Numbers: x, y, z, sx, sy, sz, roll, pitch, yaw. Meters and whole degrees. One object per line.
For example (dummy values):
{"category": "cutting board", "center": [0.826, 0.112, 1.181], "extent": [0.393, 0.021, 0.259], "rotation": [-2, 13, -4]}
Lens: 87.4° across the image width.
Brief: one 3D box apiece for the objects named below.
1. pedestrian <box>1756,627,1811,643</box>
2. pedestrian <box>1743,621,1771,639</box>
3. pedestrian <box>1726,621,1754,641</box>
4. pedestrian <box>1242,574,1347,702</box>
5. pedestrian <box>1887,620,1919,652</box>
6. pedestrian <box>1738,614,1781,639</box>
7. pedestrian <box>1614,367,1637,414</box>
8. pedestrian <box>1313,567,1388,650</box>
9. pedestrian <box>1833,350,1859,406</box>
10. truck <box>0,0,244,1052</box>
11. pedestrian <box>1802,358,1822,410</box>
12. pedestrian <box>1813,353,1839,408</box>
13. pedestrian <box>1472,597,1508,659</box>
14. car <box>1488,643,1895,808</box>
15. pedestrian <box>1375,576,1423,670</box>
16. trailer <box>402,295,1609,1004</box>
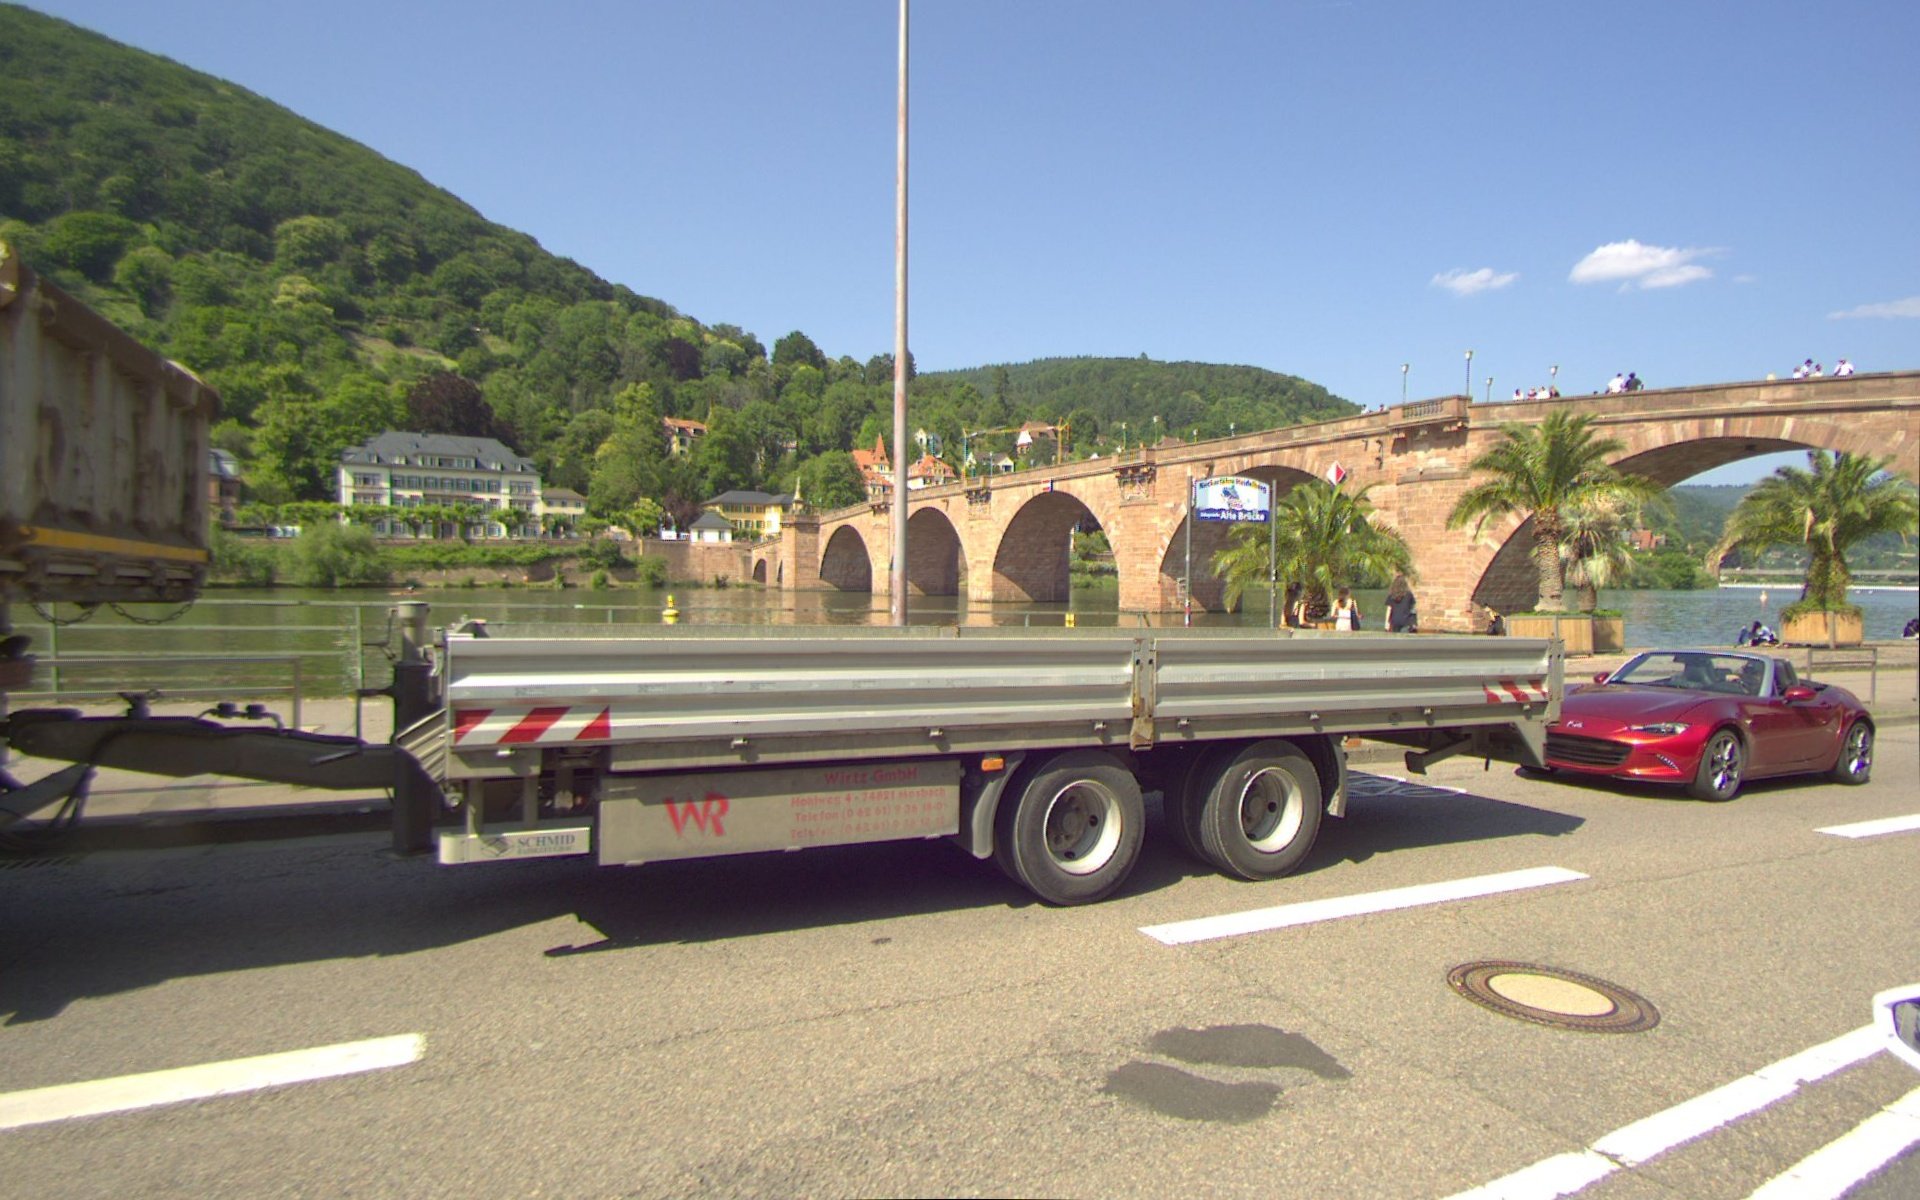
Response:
{"category": "pedestrian", "center": [24.487, 1.035, 29.878], "extent": [1.719, 0.427, 0.642], "rotation": [0, 0, -27]}
{"category": "pedestrian", "center": [24.814, 0.937, 31.289], "extent": [0.506, 0.571, 0.463], "rotation": [1, -3, -18]}
{"category": "pedestrian", "center": [23.778, 0.947, 30.614], "extent": [0.506, 0.571, 0.463], "rotation": [1, -3, -18]}
{"category": "pedestrian", "center": [4.734, 0.513, 14.236], "extent": [1.136, 1.724, 0.813], "rotation": [1, 1, -27]}
{"category": "pedestrian", "center": [38.621, 1.451, 41.010], "extent": [1.129, 1.257, 0.724], "rotation": [1, 1, -24]}
{"category": "pedestrian", "center": [25.045, 0.831, 31.480], "extent": [0.699, 0.753, 0.786], "rotation": [0, 2, -17]}
{"category": "pedestrian", "center": [31.565, -9.928, 47.659], "extent": [0.618, 2.041, 0.689], "rotation": [0, 1, -31]}
{"category": "pedestrian", "center": [7.505, 0.179, 19.334], "extent": [1.101, 1.554, 0.791], "rotation": [1, -3, -27]}
{"category": "pedestrian", "center": [35.933, -8.989, 40.721], "extent": [0.688, 2.041, 0.619], "rotation": [0, 1, -35]}
{"category": "truck", "center": [-6.991, -0.395, 2.733], "extent": [7.763, 3.502, 2.635], "rotation": [1, -1, -25]}
{"category": "pedestrian", "center": [35.649, -9.017, 42.029], "extent": [0.548, 2.041, 0.455], "rotation": [0, 1, -35]}
{"category": "pedestrian", "center": [35.516, -8.997, 41.179], "extent": [0.688, 2.041, 0.619], "rotation": [0, 1, -35]}
{"category": "pedestrian", "center": [14.256, 0.736, 27.008], "extent": [0.591, 1.623, 0.671], "rotation": [-1, 2, -44]}
{"category": "car", "center": [6.858, 1.041, 9.393], "extent": [3.582, 1.210, 1.665], "rotation": [1, -1, -27]}
{"category": "pedestrian", "center": [8.258, 0.404, 18.875], "extent": [0.781, 1.714, 0.845], "rotation": [1, 2, 25]}
{"category": "trailer", "center": [0.561, 0.257, 6.316], "extent": [6.852, 2.564, 2.690], "rotation": [1, -1, -25]}
